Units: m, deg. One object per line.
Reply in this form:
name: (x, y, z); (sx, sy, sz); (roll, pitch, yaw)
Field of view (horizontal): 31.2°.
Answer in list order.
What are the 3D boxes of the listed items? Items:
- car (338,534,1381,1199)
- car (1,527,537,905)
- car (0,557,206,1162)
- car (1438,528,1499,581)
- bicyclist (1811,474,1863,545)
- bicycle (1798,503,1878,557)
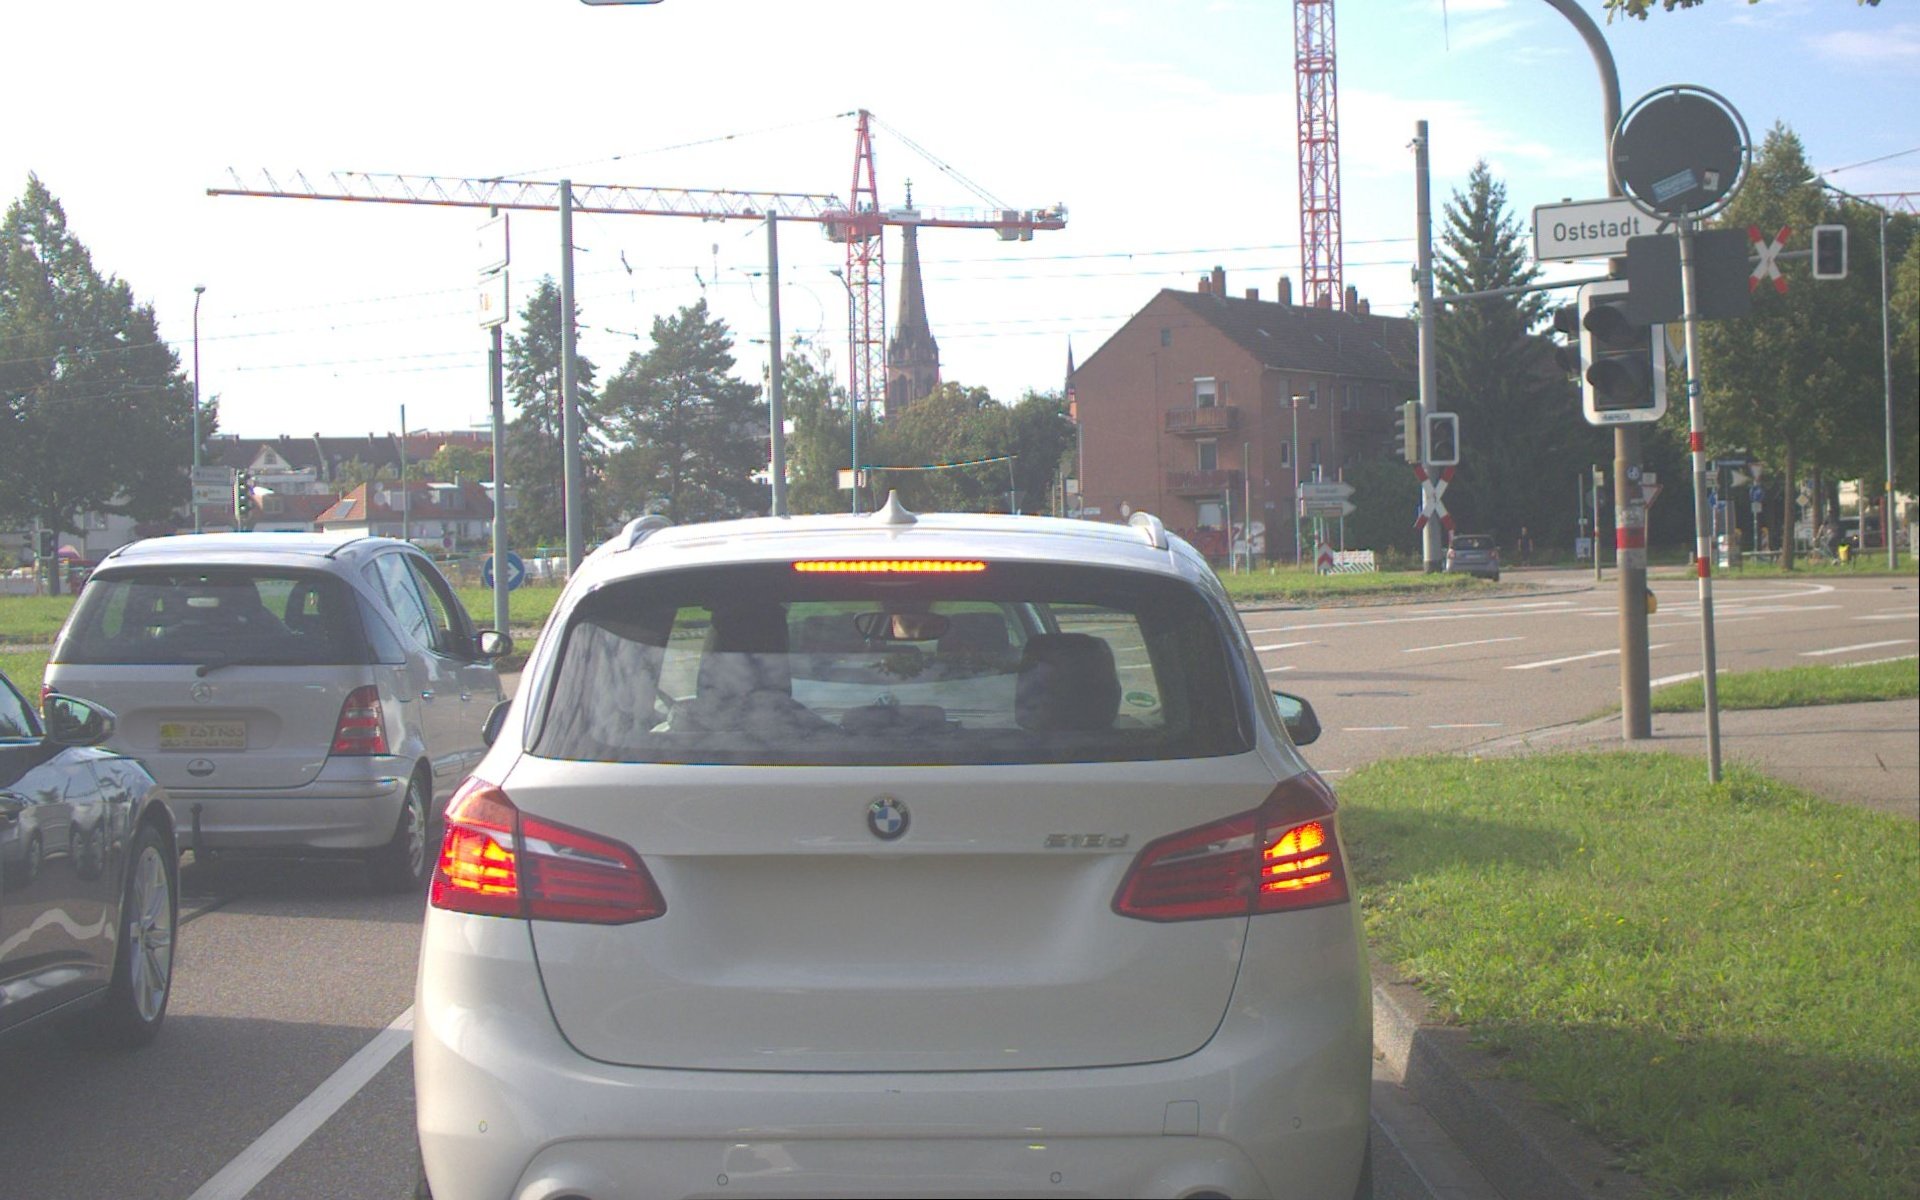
car: (-0.194, 0.633, 7.737); (1.729, 1.553, 4.058); (0, 1, -1)
car: (-3.099, 0.445, 16.205); (1.729, 1.553, 4.058); (0, 1, 0)
car: (-3.290, 0.632, 8.518); (1.890, 1.478, 4.613); (0, 1, -1)
car: (15.990, -1.439, 107.994); (1.570, 1.568, 3.197); (-2, 1, 13)
bicyclist: (25.392, -2.611, 99.544); (0.819, 2.007, 1.224); (1, 0, -31)
bicycle: (25.405, -2.021, 99.512); (0.893, 1.525, 2.290); (1, 0, -30)
